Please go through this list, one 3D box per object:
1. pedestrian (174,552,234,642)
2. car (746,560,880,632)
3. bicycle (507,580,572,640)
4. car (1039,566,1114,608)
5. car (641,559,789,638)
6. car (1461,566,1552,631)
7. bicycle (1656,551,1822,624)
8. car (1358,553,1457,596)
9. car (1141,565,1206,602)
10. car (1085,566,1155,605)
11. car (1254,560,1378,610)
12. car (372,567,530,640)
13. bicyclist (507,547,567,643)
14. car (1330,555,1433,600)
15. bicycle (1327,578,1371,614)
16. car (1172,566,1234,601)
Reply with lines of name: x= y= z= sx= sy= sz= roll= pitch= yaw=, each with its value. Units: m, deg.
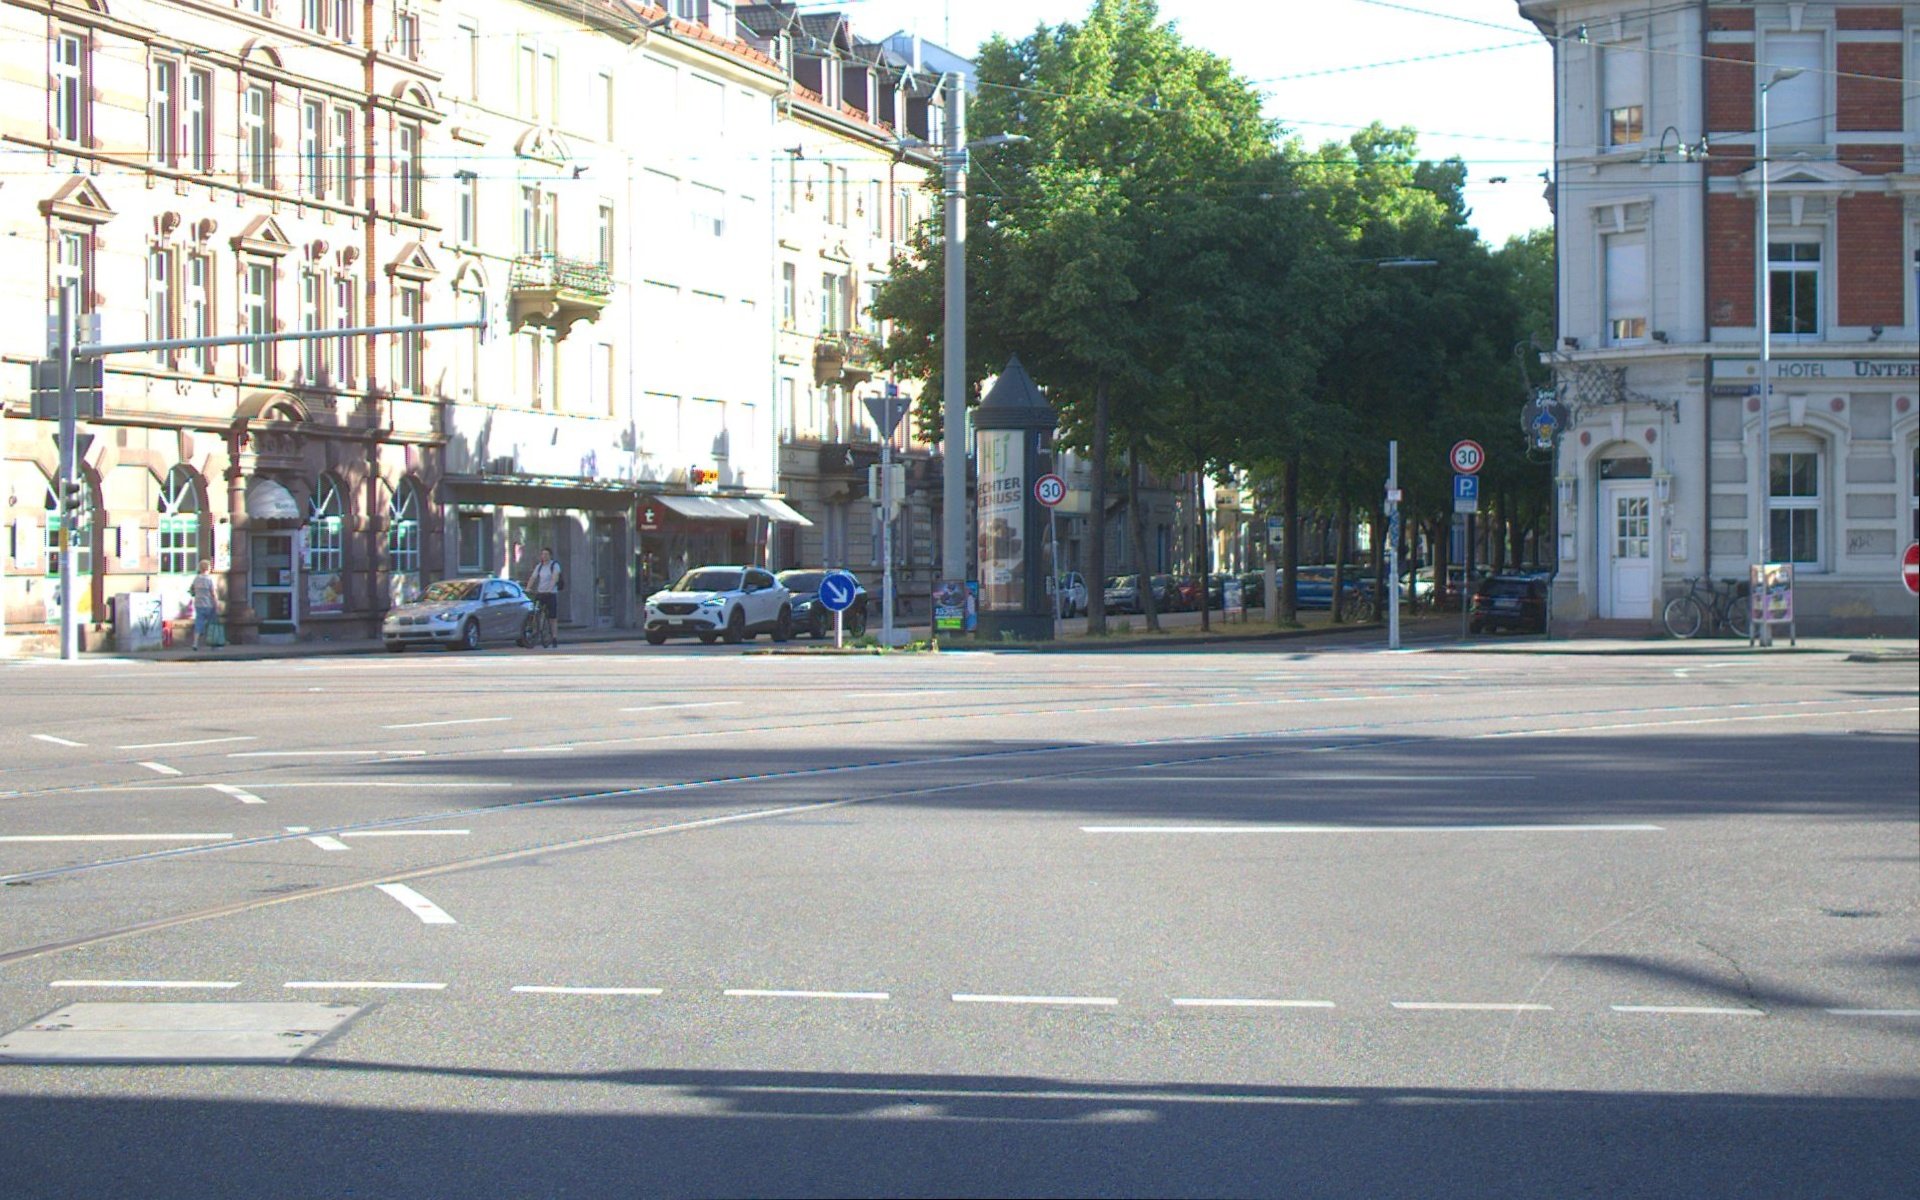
pedestrian: x=-14.104 y=-0.058 z=64.180 sx=0.776 sy=1.664 sz=0.830 roll=1 pitch=0 yaw=15
car: x=-3.119 y=-0.106 z=73.619 sx=1.678 sy=1.478 sz=3.945 roll=0 pitch=1 yaw=16
bicycle: x=-7.978 y=0.181 z=65.269 sx=0.702 sy=1.114 sz=1.634 roll=1 pitch=1 yaw=13
car: x=3.930 y=-0.451 z=115.484 sx=1.678 sy=1.349 sz=3.588 roll=0 pitch=1 yaw=16
car: x=-4.760 y=-0.055 z=67.318 sx=1.678 sy=1.478 sz=3.768 roll=0 pitch=1 yaw=16
car: x=13.149 y=-0.061 z=82.580 sx=1.678 sy=1.478 sz=3.945 roll=0 pitch=1 yaw=16
bicycle: x=12.971 y=-0.209 z=57.281 sx=2.554 sy=1.170 sz=0.819 roll=1 pitch=0 yaw=-3
car: x=17.382 y=-1.009 z=133.513 sx=3.582 sy=1.642 sz=1.681 roll=0 pitch=1 yaw=17
car: x=8.136 y=-0.623 z=130.753 sx=1.678 sy=1.349 sz=3.588 roll=0 pitch=1 yaw=16
car: x=5.700 y=-0.515 z=122.446 sx=1.678 sy=1.349 sz=3.588 roll=0 pitch=1 yaw=16
car: x=11.988 y=-0.516 z=115.684 sx=3.905 sy=1.642 sz=1.681 roll=0 pitch=1 yaw=17
car: x=-9.871 y=0.052 z=66.913 sx=1.678 sy=1.349 sz=3.588 roll=0 pitch=1 yaw=16
bicyclist: x=-8.013 y=-0.091 z=65.142 sx=0.779 sy=1.797 sz=1.055 roll=1 pitch=0 yaw=14
car: x=15.709 y=-0.854 z=128.039 sx=3.582 sy=1.642 sz=1.681 roll=0 pitch=1 yaw=17
bicycle: x=11.259 y=-0.109 z=99.489 sx=0.636 sy=1.018 sz=1.847 roll=1 pitch=1 yaw=-14
car: x=9.607 y=-0.662 z=135.783 sx=1.678 sy=1.349 sz=3.588 roll=0 pitch=1 yaw=16
